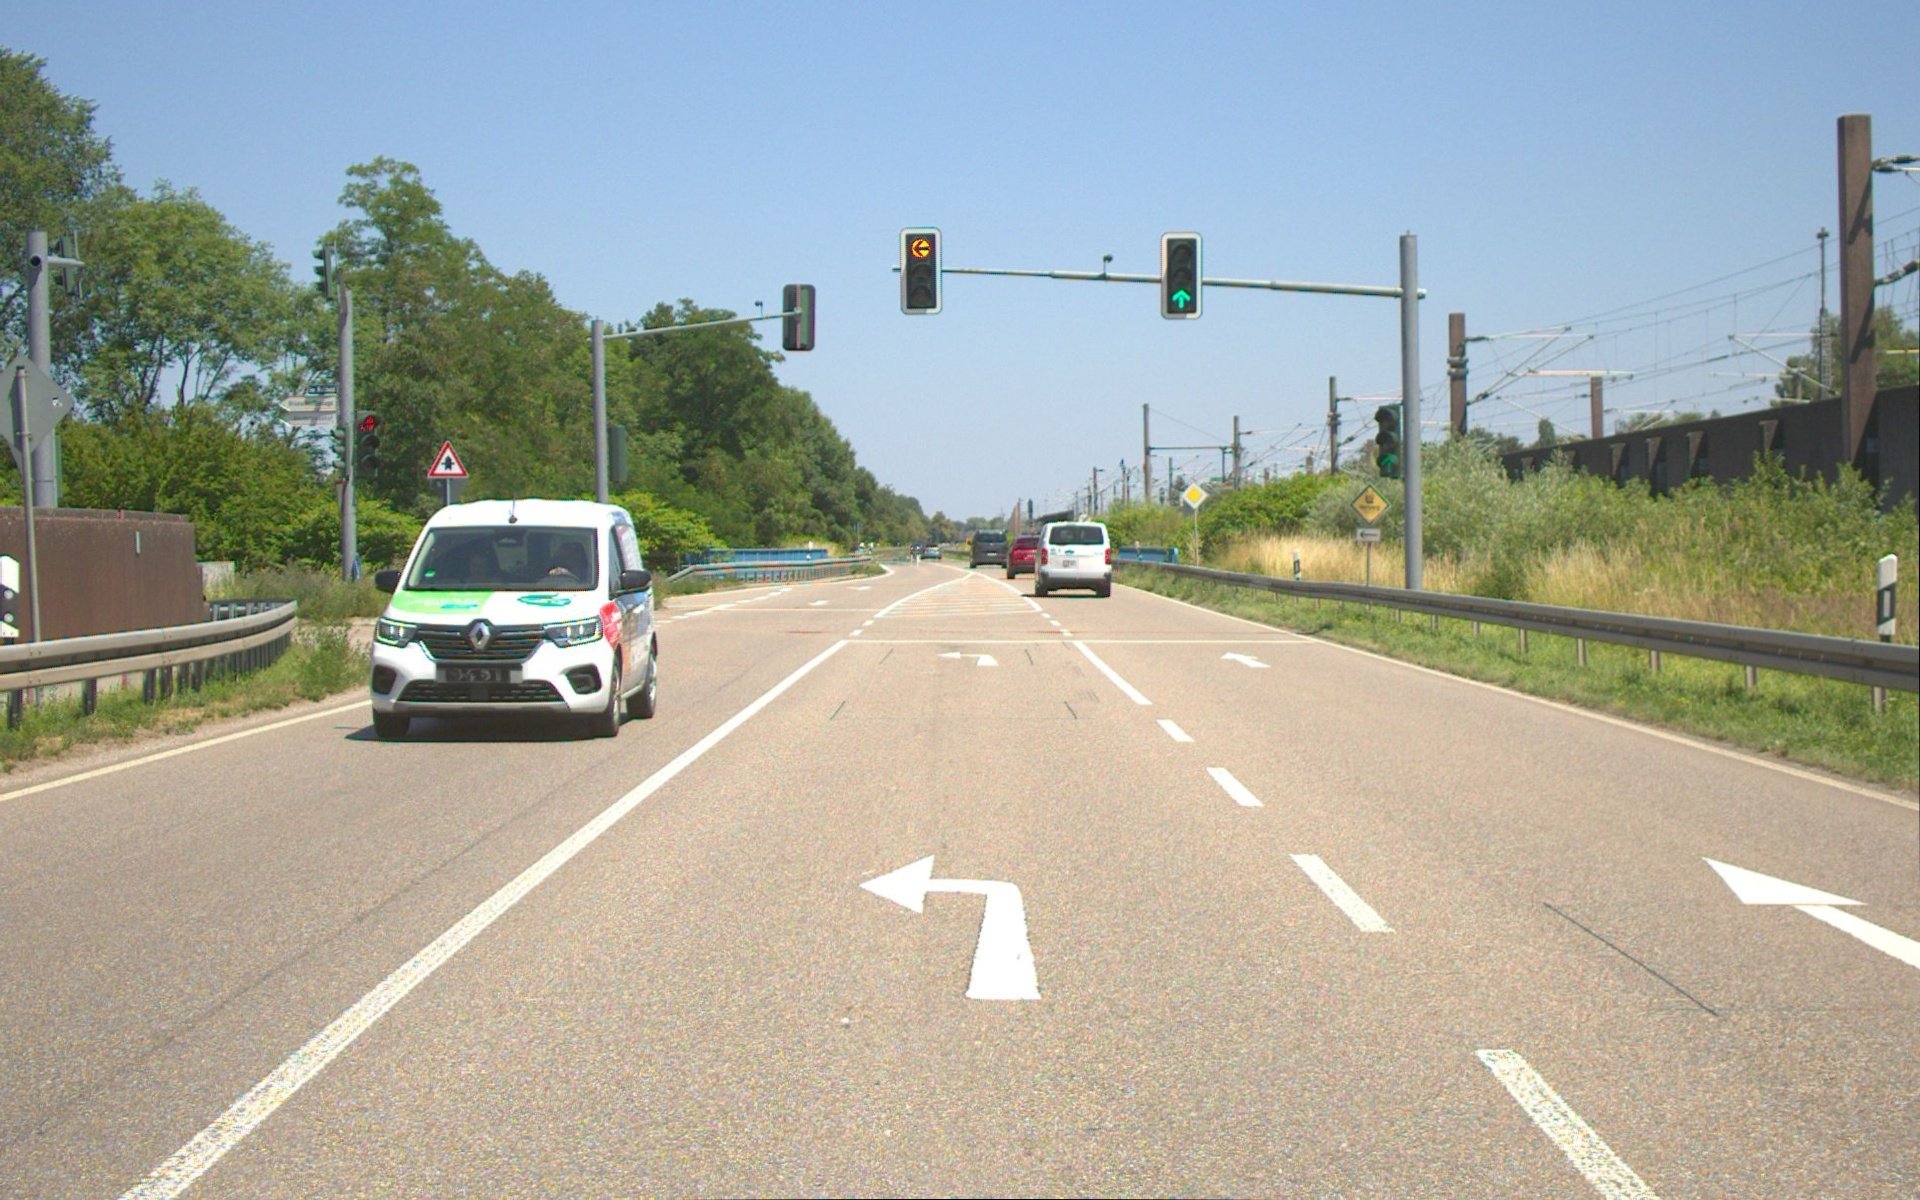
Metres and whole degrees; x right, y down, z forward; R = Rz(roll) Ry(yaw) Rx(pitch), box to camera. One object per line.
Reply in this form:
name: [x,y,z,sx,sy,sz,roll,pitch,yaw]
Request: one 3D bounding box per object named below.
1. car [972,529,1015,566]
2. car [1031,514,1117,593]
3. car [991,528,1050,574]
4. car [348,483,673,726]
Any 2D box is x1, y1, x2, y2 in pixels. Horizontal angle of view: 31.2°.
car: [1.788,-2.868,185.789,2.154,1.961,4.543,0,1,-1]
car: [2.935,-1.228,89.095,1.993,1.977,4.060,1,1,-1]
car: [2.263,-1.870,130.145,2.019,1.720,4.543,0,1,-1]
car: [-3.435,-0.014,27.123,1.887,1.734,4.777,0,1,1]
